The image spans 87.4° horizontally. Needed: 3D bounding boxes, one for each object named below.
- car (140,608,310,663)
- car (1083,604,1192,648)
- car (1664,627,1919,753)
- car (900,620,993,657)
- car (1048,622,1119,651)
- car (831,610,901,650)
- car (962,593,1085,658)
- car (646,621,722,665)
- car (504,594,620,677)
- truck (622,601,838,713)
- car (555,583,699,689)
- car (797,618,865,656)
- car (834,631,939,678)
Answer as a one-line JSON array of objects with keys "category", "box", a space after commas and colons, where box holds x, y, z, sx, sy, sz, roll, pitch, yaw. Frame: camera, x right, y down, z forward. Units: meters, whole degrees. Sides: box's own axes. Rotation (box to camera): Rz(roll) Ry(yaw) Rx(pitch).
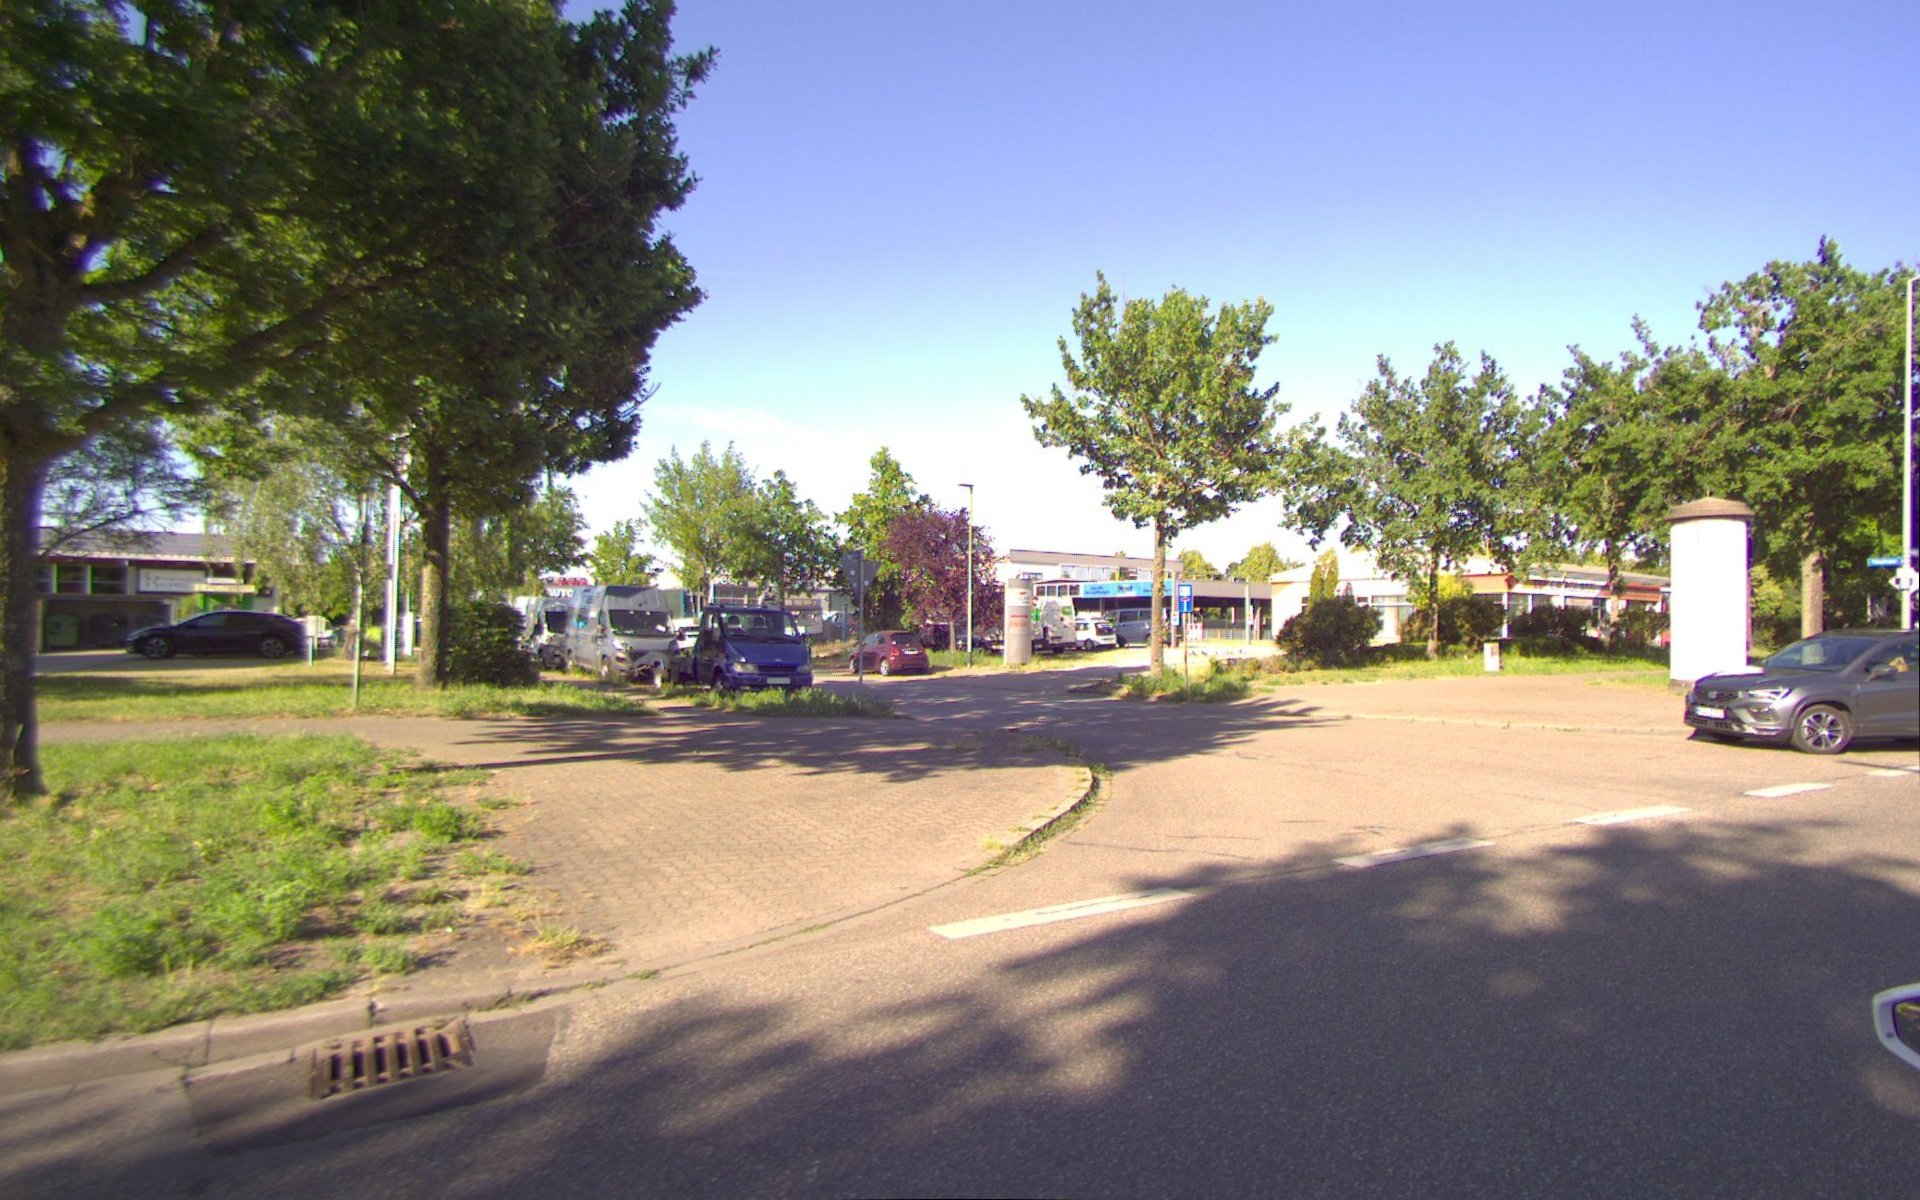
[{"category": "car", "box": [-23.670, 1.150, 32.595, 4.254, 1.513, 1.982, 4, -2, -33]}, {"category": "car", "box": [8.854, 1.302, 50.635, 2.279, 2.097, 5.373, 2, -2, -35]}, {"category": "car", "box": [12.419, 1.181, 13.864, 4.215, 1.616, 1.759, 0, -1, -2]}, {"category": "car", "box": [-0.662, 1.687, 44.900, 1.867, 1.571, 4.615, 2, -2, -35]}, {"category": "car", "box": [6.088, 1.792, 49.633, 1.559, 1.319, 3.500, 1, -1, -35]}, {"category": "car", "box": [-5.161, 1.604, 54.664, 1.867, 1.992, 4.210, 2, -1, -35]}, {"category": "car", "box": [2.794, 1.126, 46.096, 2.279, 2.738, 6.118, 2, -1, -35]}, {"category": "car", "box": [-15.055, 2.289, 54.504, 2.279, 2.132, 5.307, 2, -1, -35]}, {"category": "car", "box": [-13.955, 1.145, 34.943, 2.279, 2.549, 6.295, 2, -1, -35]}, {"category": "truck", "box": [-5.504, 1.155, 22.976, 2.121, 2.077, 7.059, 2, -1, -37]}, {"category": "car", "box": [-9.742, 0.936, 29.032, 2.279, 2.738, 5.822, 2, -1, -35]}, {"category": "car", "box": [-6.929, 1.954, 53.549, 1.867, 1.910, 4.210, 2, -2, -35]}, {"category": "car", "box": [-2.636, 1.851, 35.165, 1.807, 1.501, 4.163, 0, -1, -35]}]
